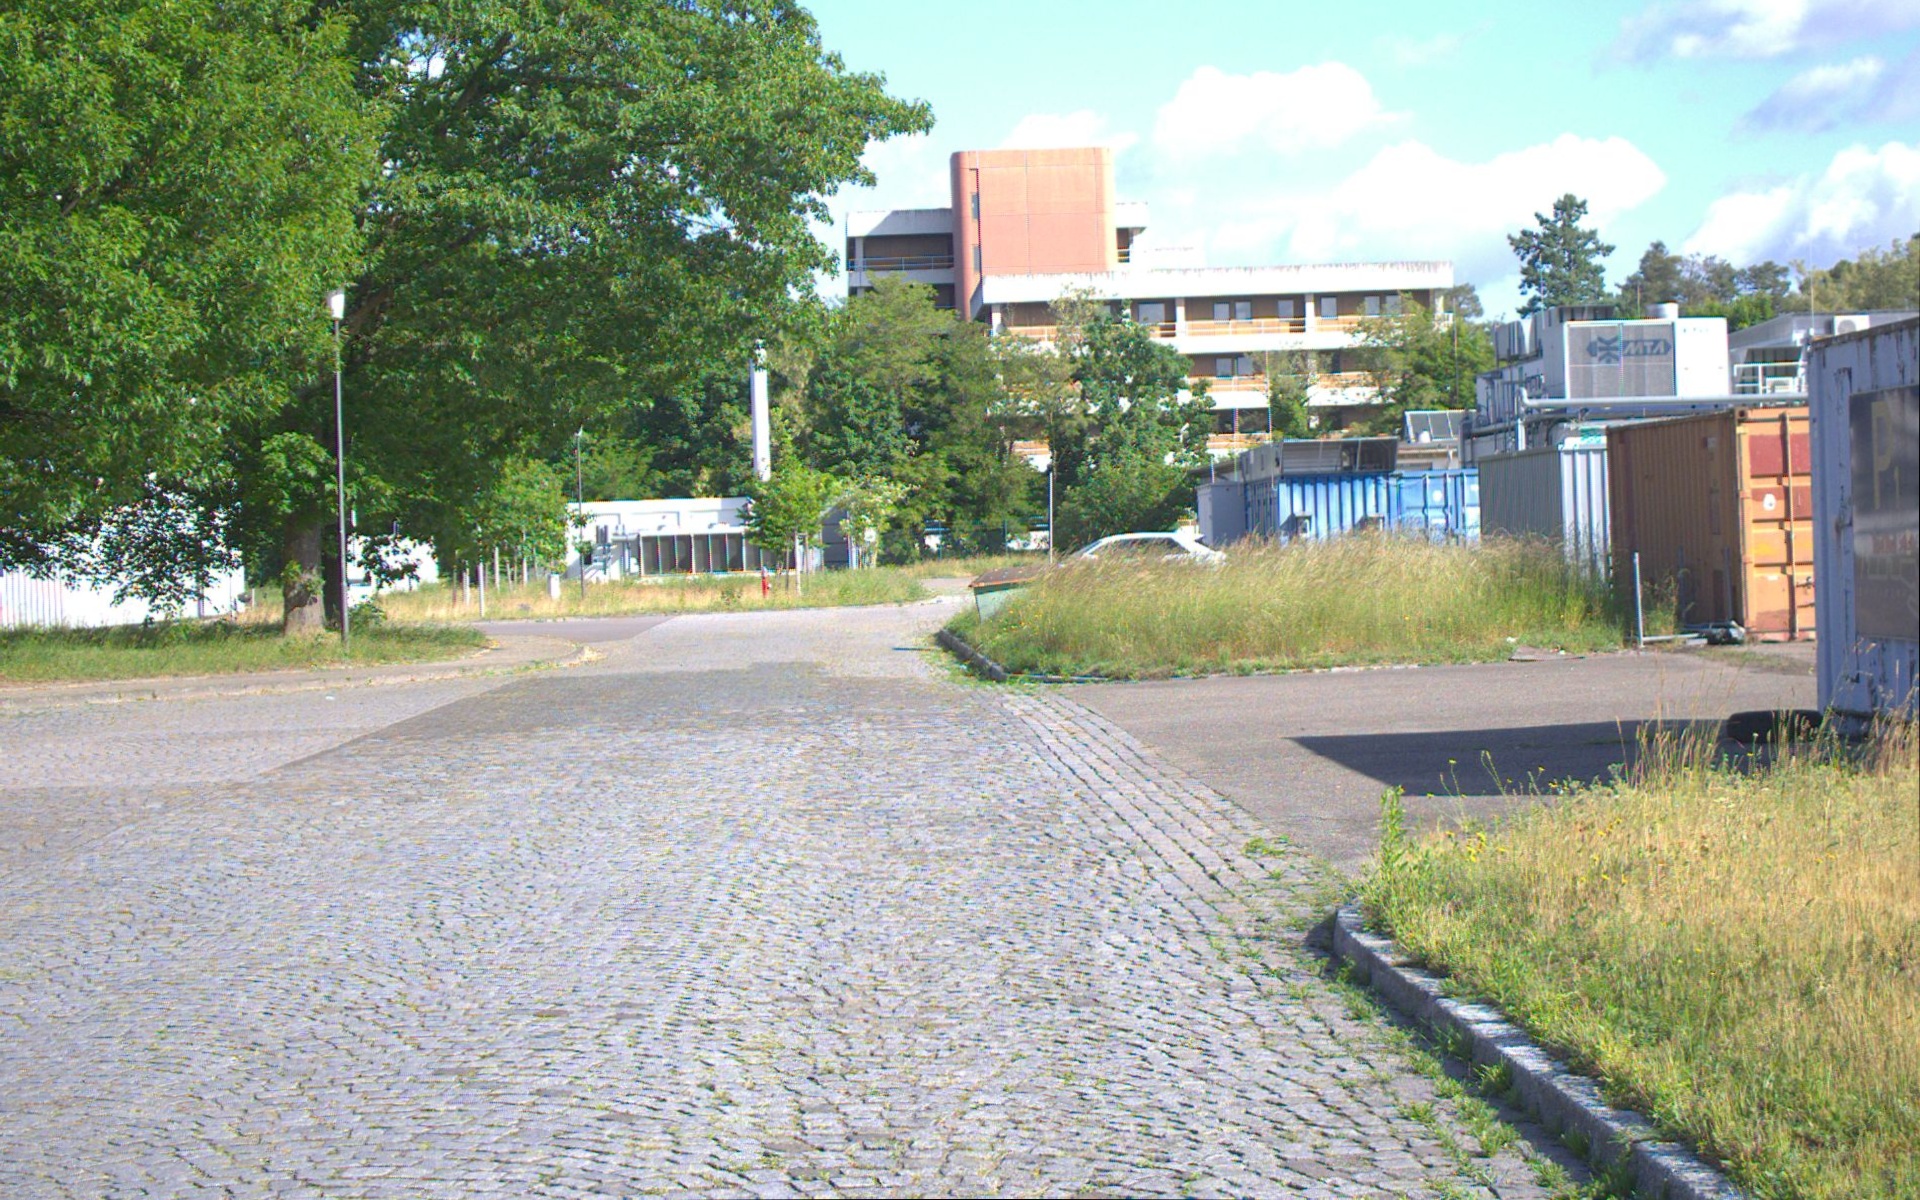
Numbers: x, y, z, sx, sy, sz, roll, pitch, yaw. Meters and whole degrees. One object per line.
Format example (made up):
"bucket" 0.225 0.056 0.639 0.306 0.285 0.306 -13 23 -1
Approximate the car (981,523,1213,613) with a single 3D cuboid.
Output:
"car" 2.789 -0.665 70.649 4.587 1.672 1.875 -2 1 -2

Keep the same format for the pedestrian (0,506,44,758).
"pedestrian" -7.681 0.247 26.655 0.797 1.907 1.142 -2 1 -1
